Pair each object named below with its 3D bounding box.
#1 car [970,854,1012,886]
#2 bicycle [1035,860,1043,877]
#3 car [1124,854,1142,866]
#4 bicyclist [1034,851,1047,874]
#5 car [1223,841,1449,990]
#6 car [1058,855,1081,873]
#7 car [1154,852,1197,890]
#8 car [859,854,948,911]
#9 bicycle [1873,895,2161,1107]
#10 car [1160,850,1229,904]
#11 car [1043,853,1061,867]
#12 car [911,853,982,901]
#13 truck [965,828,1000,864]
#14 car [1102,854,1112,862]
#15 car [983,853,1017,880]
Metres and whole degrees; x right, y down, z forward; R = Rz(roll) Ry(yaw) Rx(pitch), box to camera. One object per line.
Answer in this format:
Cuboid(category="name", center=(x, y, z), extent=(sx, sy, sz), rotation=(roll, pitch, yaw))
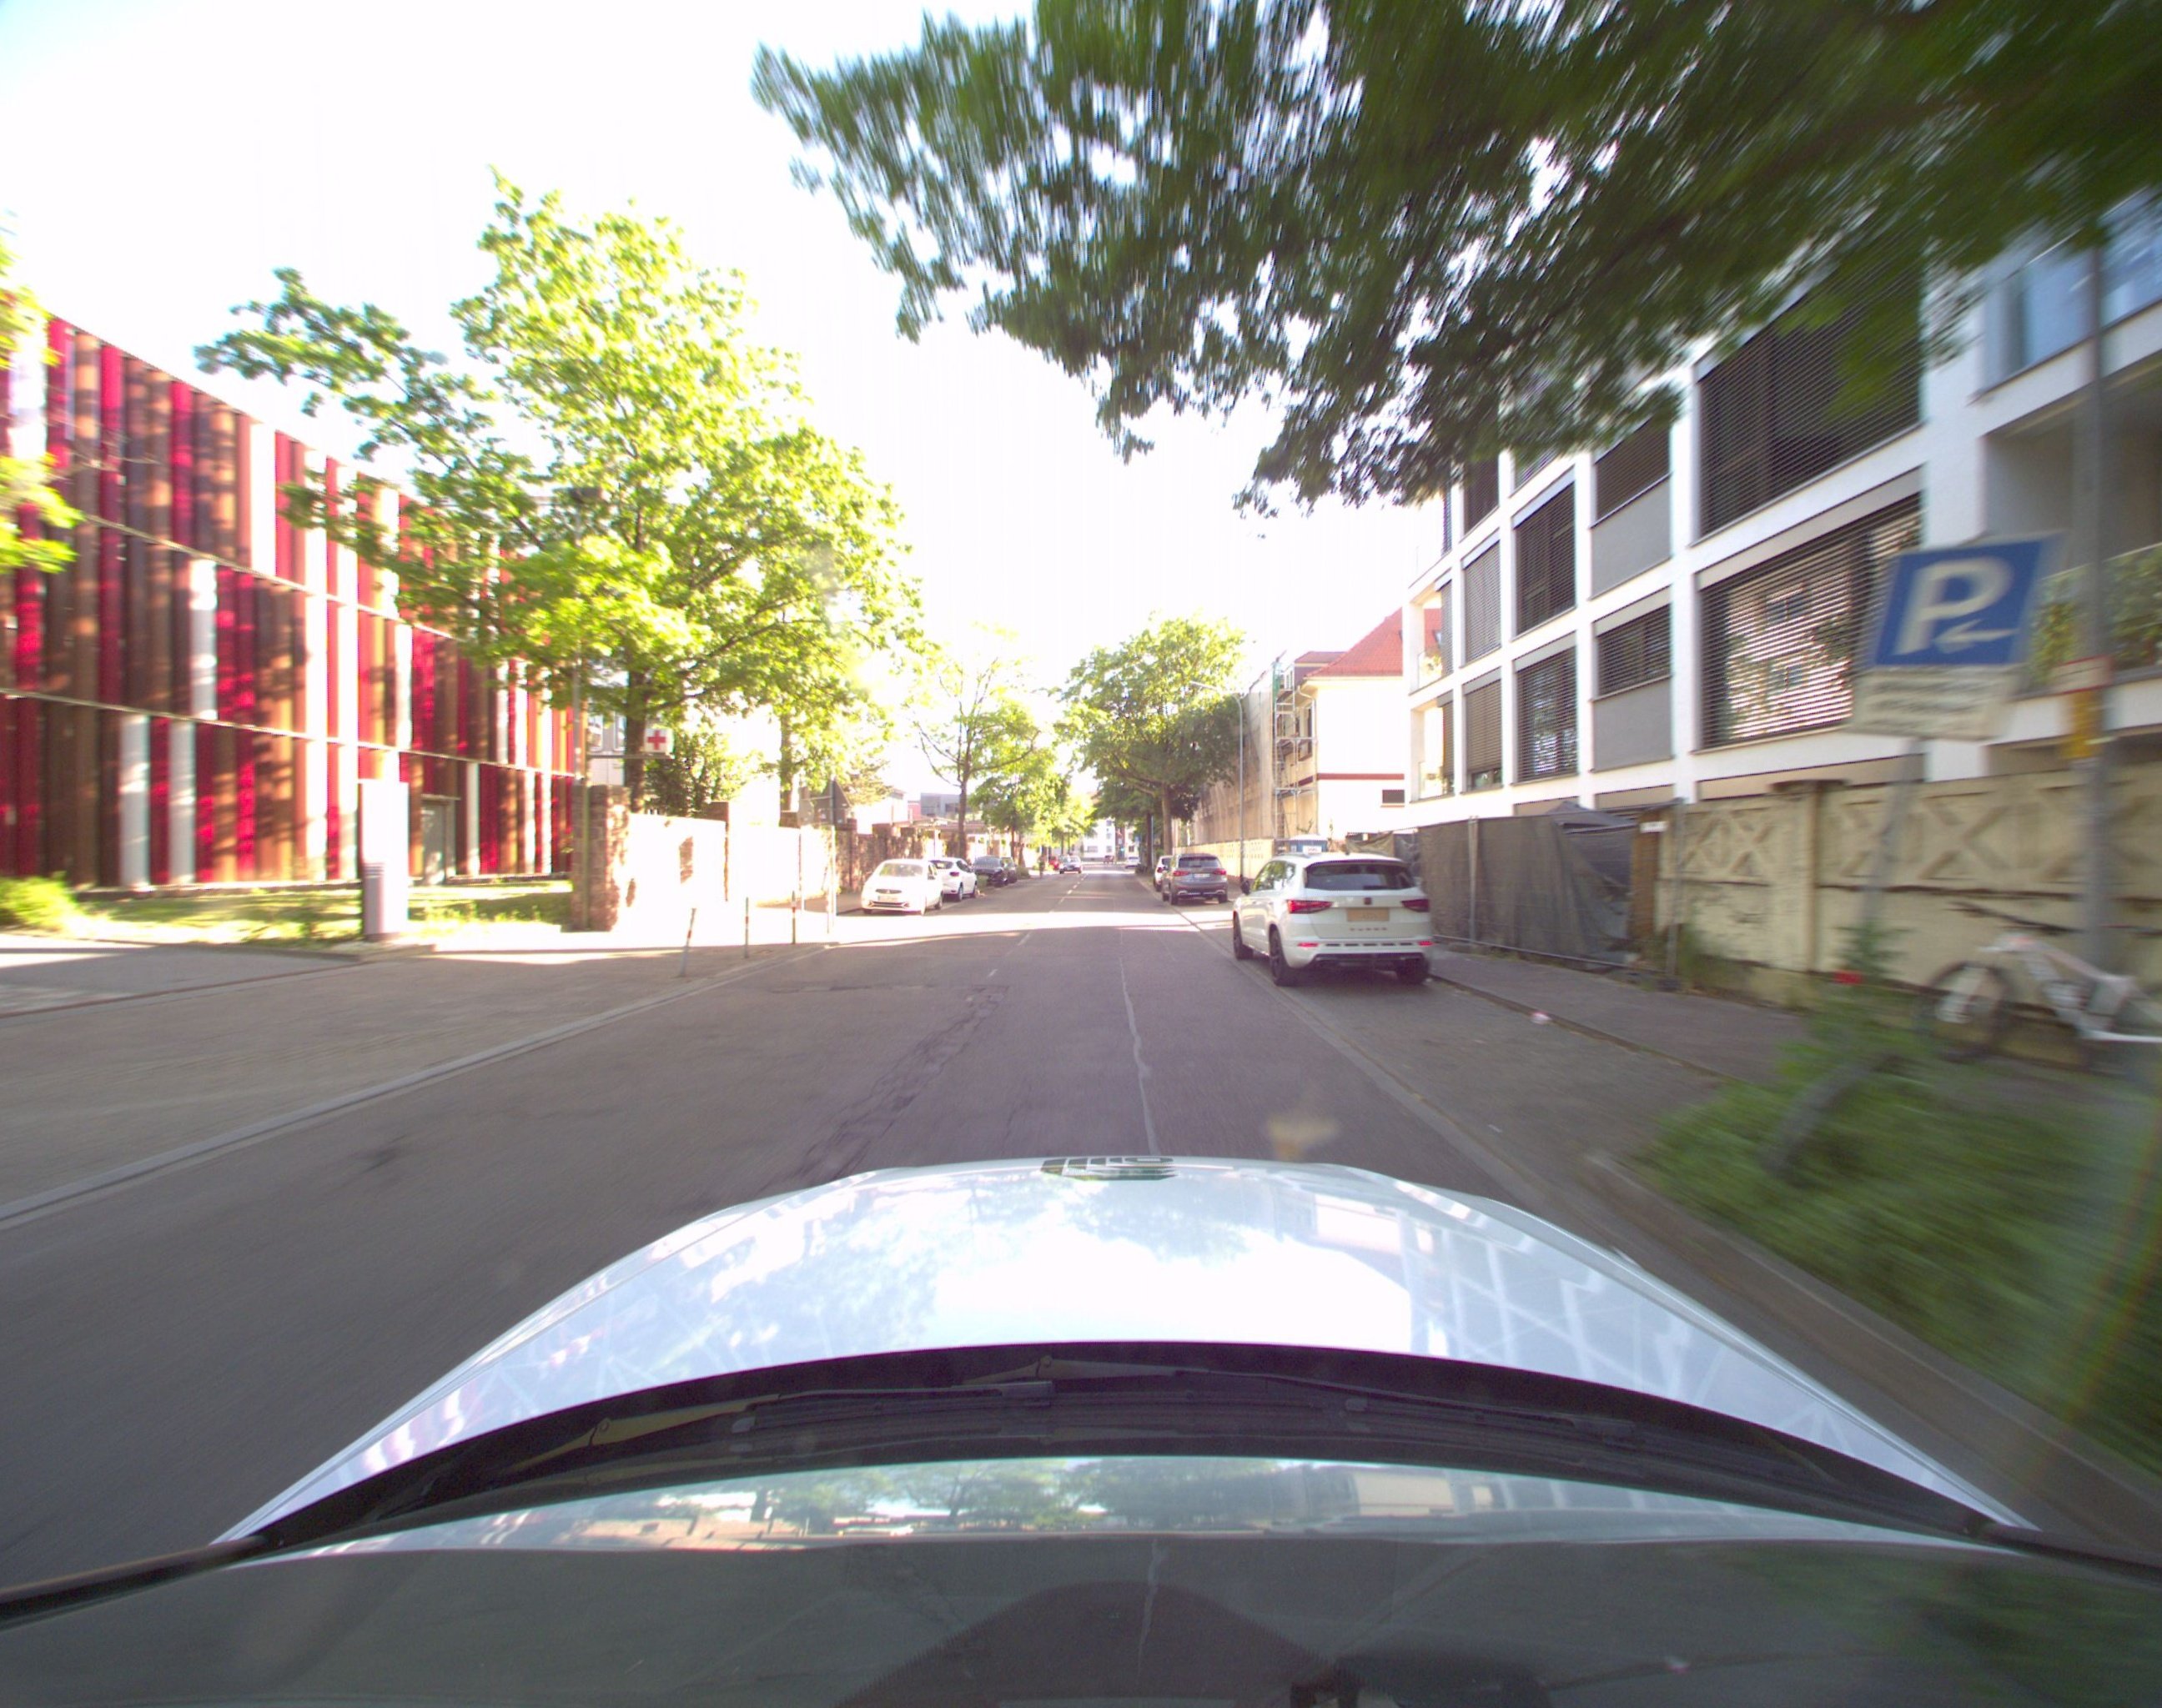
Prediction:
Cuboid(category="car", center=(-4.447, 0.775, 40.795), extent=(1.568, 1.515, 4.045), rotation=(0, 0, 1))
Cuboid(category="bicycle", center=(-2.843, 1.002, 55.189), extent=(0.356, 1.120, 1.867), rotation=(1, 0, 3))
Cuboid(category="car", center=(5.893, 0.636, 92.121), extent=(1.826, 1.323, 4.497), rotation=(-1, 0, 1))
Cuboid(category="bicyclist", center=(-2.736, 0.587, 55.139), extent=(0.717, 1.522, 1.006), rotation=(1, 0, 4))
Cuboid(category="car", center=(3.183, 0.676, 11.061), extent=(1.787, 1.615, 4.126), rotation=(1, 0, 0))
Cuboid(category="car", center=(-0.965, 0.829, 69.121), extent=(1.816, 1.436, 3.968), rotation=(2, 0, 0))
Cuboid(category="car", center=(4.091, 0.707, 35.809), extent=(1.715, 1.510, 3.997), rotation=(-2, 0, 5))
Cuboid(category="car", center=(-4.907, 0.736, 22.981), extent=(1.568, 1.402, 3.751), rotation=(3, 0, 1))
Cuboid(category="bicycle", center=(5.911, 0.823, 5.006), extent=(0.335, 1.041, 1.831), rotation=(1, 0, 1))
Cuboid(category="car", center=(3.680, 0.695, 27.066), extent=(1.707, 1.638, 4.302), rotation=(0, 0, 0))
Cuboid(category="car", center=(-2.999, 0.605, 84.775), extent=(1.602, 1.459, 3.710), rotation=(1, 0, 2))
Cuboid(category="car", center=(-4.741, 0.773, 29.178), extent=(1.670, 1.511, 3.851), rotation=(3, 0, 2))
Cuboid(category="truck", center=(-10.921, -0.854, 90.800), extent=(2.722, 3.711, 7.430), rotation=(1, 0, 1))
Cuboid(category="car", center=(4.633, 0.718, 145.585), extent=(1.632, 1.443, 3.423), rotation=(1, 0, 2))
Cuboid(category="car", center=(-4.523, 0.666, 45.974), extent=(1.683, 1.422, 3.835), rotation=(1, 0, -3))
